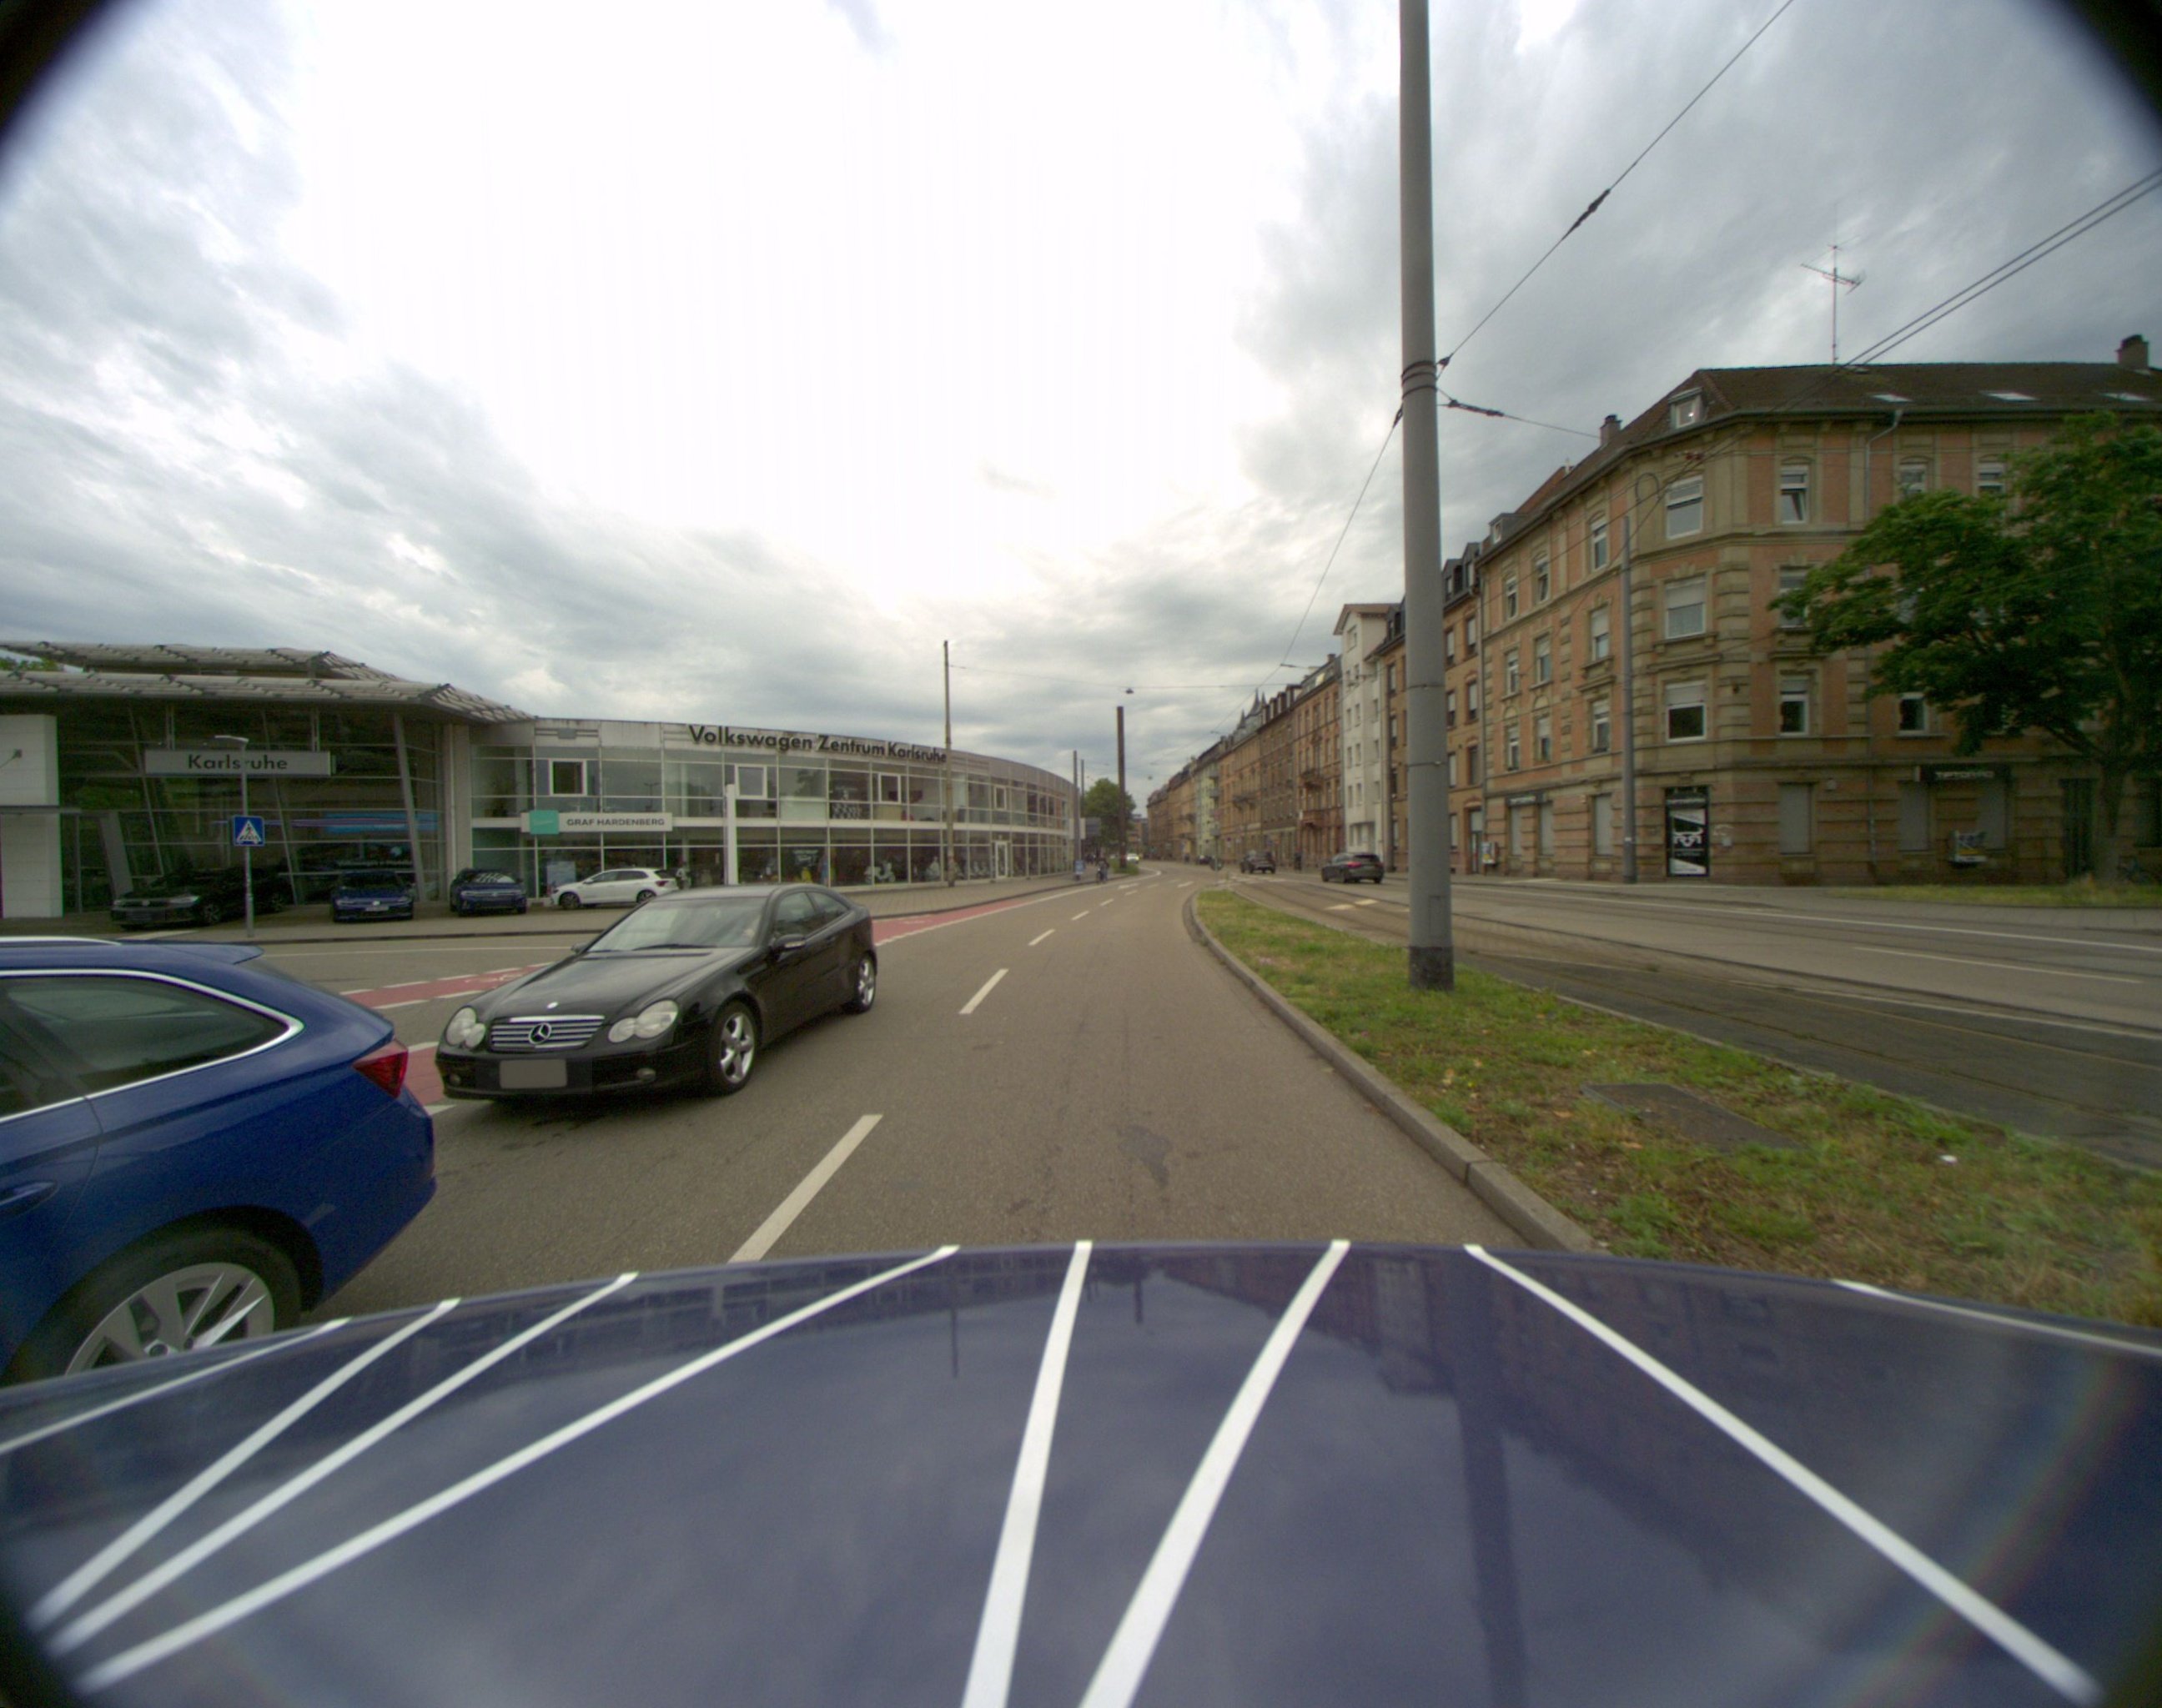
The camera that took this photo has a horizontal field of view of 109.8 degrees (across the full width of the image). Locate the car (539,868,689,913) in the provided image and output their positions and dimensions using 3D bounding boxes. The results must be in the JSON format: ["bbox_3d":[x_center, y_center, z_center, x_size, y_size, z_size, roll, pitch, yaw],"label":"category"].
[{"bbox_3d":[-16.993,1.289,27.833,4.263,1.444,1.781,-1,0,-9],"label":"car"}]

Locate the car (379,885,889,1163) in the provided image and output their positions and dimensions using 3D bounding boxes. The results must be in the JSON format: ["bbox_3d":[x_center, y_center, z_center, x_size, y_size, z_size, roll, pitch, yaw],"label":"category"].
[{"bbox_3d":[-3.102,1.072,6.416,1.714,1.413,4.070,-1,0,3],"label":"car"}]

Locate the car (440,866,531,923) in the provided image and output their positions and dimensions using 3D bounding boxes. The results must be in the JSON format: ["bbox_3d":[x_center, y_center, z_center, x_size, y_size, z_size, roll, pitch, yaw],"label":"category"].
[{"bbox_3d":[-20.143,1.283,25.631,1.905,1.554,4.207,-2,3,-45],"label":"car"}]

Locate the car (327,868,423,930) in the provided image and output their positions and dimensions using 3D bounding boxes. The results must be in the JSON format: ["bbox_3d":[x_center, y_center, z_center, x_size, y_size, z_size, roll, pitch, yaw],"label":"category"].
[{"bbox_3d":[-22.197,1.317,23.837,4.325,1.496,1.862,3,3,43],"label":"car"}]

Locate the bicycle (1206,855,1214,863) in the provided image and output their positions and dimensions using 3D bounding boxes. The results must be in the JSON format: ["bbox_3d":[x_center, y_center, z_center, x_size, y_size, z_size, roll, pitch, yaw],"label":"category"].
[{"bbox_3d":[15.553,0.568,91.630,0.607,0.910,1.719,-1,0,-4],"label":"bicycle"}]

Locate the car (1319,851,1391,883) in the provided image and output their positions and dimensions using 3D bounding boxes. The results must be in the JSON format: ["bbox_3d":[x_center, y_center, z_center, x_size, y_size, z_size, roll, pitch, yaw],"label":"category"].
[{"bbox_3d":[12.947,0.576,36.198,1.698,1.387,4.391,-1,0,-2],"label":"car"}]

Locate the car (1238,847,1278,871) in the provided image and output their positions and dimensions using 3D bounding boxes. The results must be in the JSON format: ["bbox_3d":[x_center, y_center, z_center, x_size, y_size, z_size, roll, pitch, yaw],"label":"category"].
[{"bbox_3d":[12.831,0.367,55.217,1.802,1.630,4.229,-1,0,-1],"label":"car"}]

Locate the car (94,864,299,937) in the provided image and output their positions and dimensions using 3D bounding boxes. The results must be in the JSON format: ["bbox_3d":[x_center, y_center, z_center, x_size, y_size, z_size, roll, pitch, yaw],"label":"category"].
[{"bbox_3d":[-26.471,1.297,23.037,1.862,1.624,4.500,-3,4,-18],"label":"car"}]

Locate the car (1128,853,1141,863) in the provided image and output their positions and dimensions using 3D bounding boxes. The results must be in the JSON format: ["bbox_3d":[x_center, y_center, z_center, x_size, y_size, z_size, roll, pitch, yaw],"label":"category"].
[{"bbox_3d":[8.569,0.641,121.735,1.802,1.630,4.230,-1,0,1],"label":"car"}]

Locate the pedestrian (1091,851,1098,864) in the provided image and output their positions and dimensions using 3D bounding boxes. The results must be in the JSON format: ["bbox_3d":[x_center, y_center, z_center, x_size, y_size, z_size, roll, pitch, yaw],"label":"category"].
[{"bbox_3d":[1.814,0.481,103.236,0.871,1.843,0.706,-1,1,1],"label":"pedestrian"}]

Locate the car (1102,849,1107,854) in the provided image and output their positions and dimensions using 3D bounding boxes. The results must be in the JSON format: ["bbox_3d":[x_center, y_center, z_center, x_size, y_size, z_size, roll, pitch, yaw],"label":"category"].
[{"bbox_3d":[7.582,-0.832,245.123,1.802,1.630,4.230,-1,0,1],"label":"car"}]

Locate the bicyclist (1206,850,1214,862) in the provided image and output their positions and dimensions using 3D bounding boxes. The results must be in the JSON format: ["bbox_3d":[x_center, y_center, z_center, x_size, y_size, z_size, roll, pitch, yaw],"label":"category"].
[{"bbox_3d":[15.559,0.228,91.663,0.663,1.486,0.942,-1,1,-3],"label":"bicyclist"}]

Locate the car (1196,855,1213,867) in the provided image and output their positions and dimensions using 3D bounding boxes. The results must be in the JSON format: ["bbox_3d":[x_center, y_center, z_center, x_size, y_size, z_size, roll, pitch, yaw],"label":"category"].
[{"bbox_3d":[16.651,0.923,102.962,1.852,1.471,3.828,-1,0,3],"label":"car"}]

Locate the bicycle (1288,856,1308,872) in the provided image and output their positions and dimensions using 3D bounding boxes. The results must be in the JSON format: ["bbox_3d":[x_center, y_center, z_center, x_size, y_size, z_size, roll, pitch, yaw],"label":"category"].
[{"bbox_3d":[16.369,0.719,57.406,0.826,1.201,2.234,0,0,-1],"label":"bicycle"}]

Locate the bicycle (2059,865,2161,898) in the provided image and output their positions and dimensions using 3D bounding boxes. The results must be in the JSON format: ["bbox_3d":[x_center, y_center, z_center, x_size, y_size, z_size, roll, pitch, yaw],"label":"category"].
[{"bbox_3d":[30.327,0.820,22.230,0.662,0.909,1.989,0,-3,-10],"label":"bicycle"}]

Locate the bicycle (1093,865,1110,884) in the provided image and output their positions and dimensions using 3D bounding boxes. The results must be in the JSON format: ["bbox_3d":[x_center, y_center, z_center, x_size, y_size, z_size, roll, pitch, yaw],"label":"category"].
[{"bbox_3d":[1.183,1.171,43.063,0.727,1.003,2.177,-1,0,7],"label":"bicycle"}]

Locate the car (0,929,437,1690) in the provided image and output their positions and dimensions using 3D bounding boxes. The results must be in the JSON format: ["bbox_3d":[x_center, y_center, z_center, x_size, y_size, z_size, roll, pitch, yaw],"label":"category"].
[{"bbox_3d":[-3.183,1.039,0.412,1.784,1.480,4.465,-1,1,1],"label":"car"}]

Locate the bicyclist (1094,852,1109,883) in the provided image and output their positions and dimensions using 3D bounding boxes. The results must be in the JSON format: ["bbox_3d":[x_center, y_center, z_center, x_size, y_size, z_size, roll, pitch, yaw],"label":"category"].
[{"bbox_3d":[1.186,0.764,43.101,0.730,1.747,0.911,-1,1,7],"label":"bicyclist"}]

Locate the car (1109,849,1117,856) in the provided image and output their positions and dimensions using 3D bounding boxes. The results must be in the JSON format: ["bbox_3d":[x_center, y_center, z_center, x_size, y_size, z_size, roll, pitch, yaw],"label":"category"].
[{"bbox_3d":[7.605,-0.355,180.255,1.802,1.630,4.230,-1,0,1],"label":"car"}]

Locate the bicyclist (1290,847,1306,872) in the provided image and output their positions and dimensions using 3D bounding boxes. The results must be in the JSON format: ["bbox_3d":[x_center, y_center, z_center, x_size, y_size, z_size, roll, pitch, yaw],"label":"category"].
[{"bbox_3d":[16.371,0.403,57.333,0.831,1.881,1.049,0,0,-1],"label":"bicyclist"}]
